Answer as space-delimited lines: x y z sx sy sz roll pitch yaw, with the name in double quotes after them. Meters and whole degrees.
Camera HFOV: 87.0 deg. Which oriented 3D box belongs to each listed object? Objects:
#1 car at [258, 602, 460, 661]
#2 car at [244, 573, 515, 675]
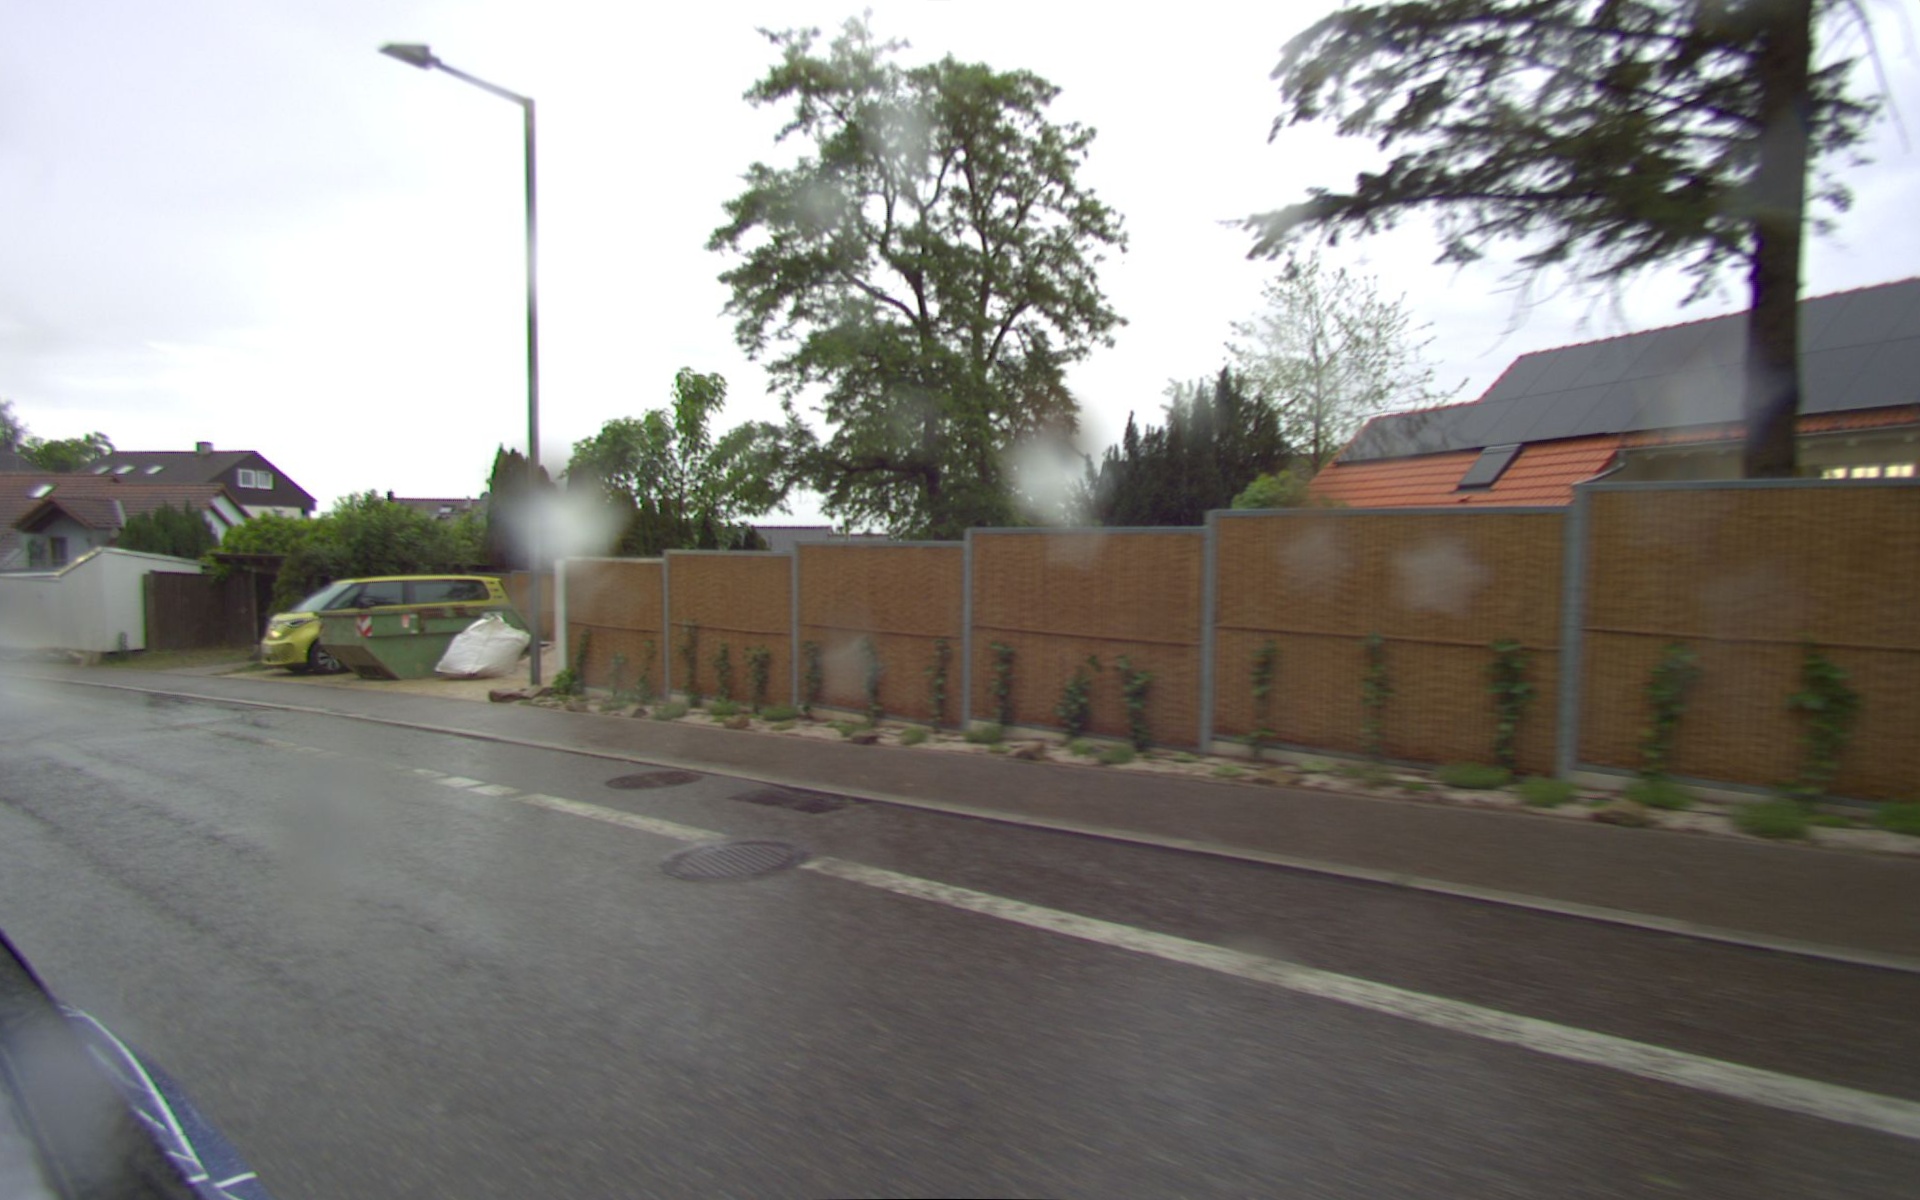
-14.792 0.734 25.123 1.785 1.313 3.965 -1 -1 31 "car"
-12.047 0.426 21.247 2.087 1.873 4.459 -2 0 39 "car"
